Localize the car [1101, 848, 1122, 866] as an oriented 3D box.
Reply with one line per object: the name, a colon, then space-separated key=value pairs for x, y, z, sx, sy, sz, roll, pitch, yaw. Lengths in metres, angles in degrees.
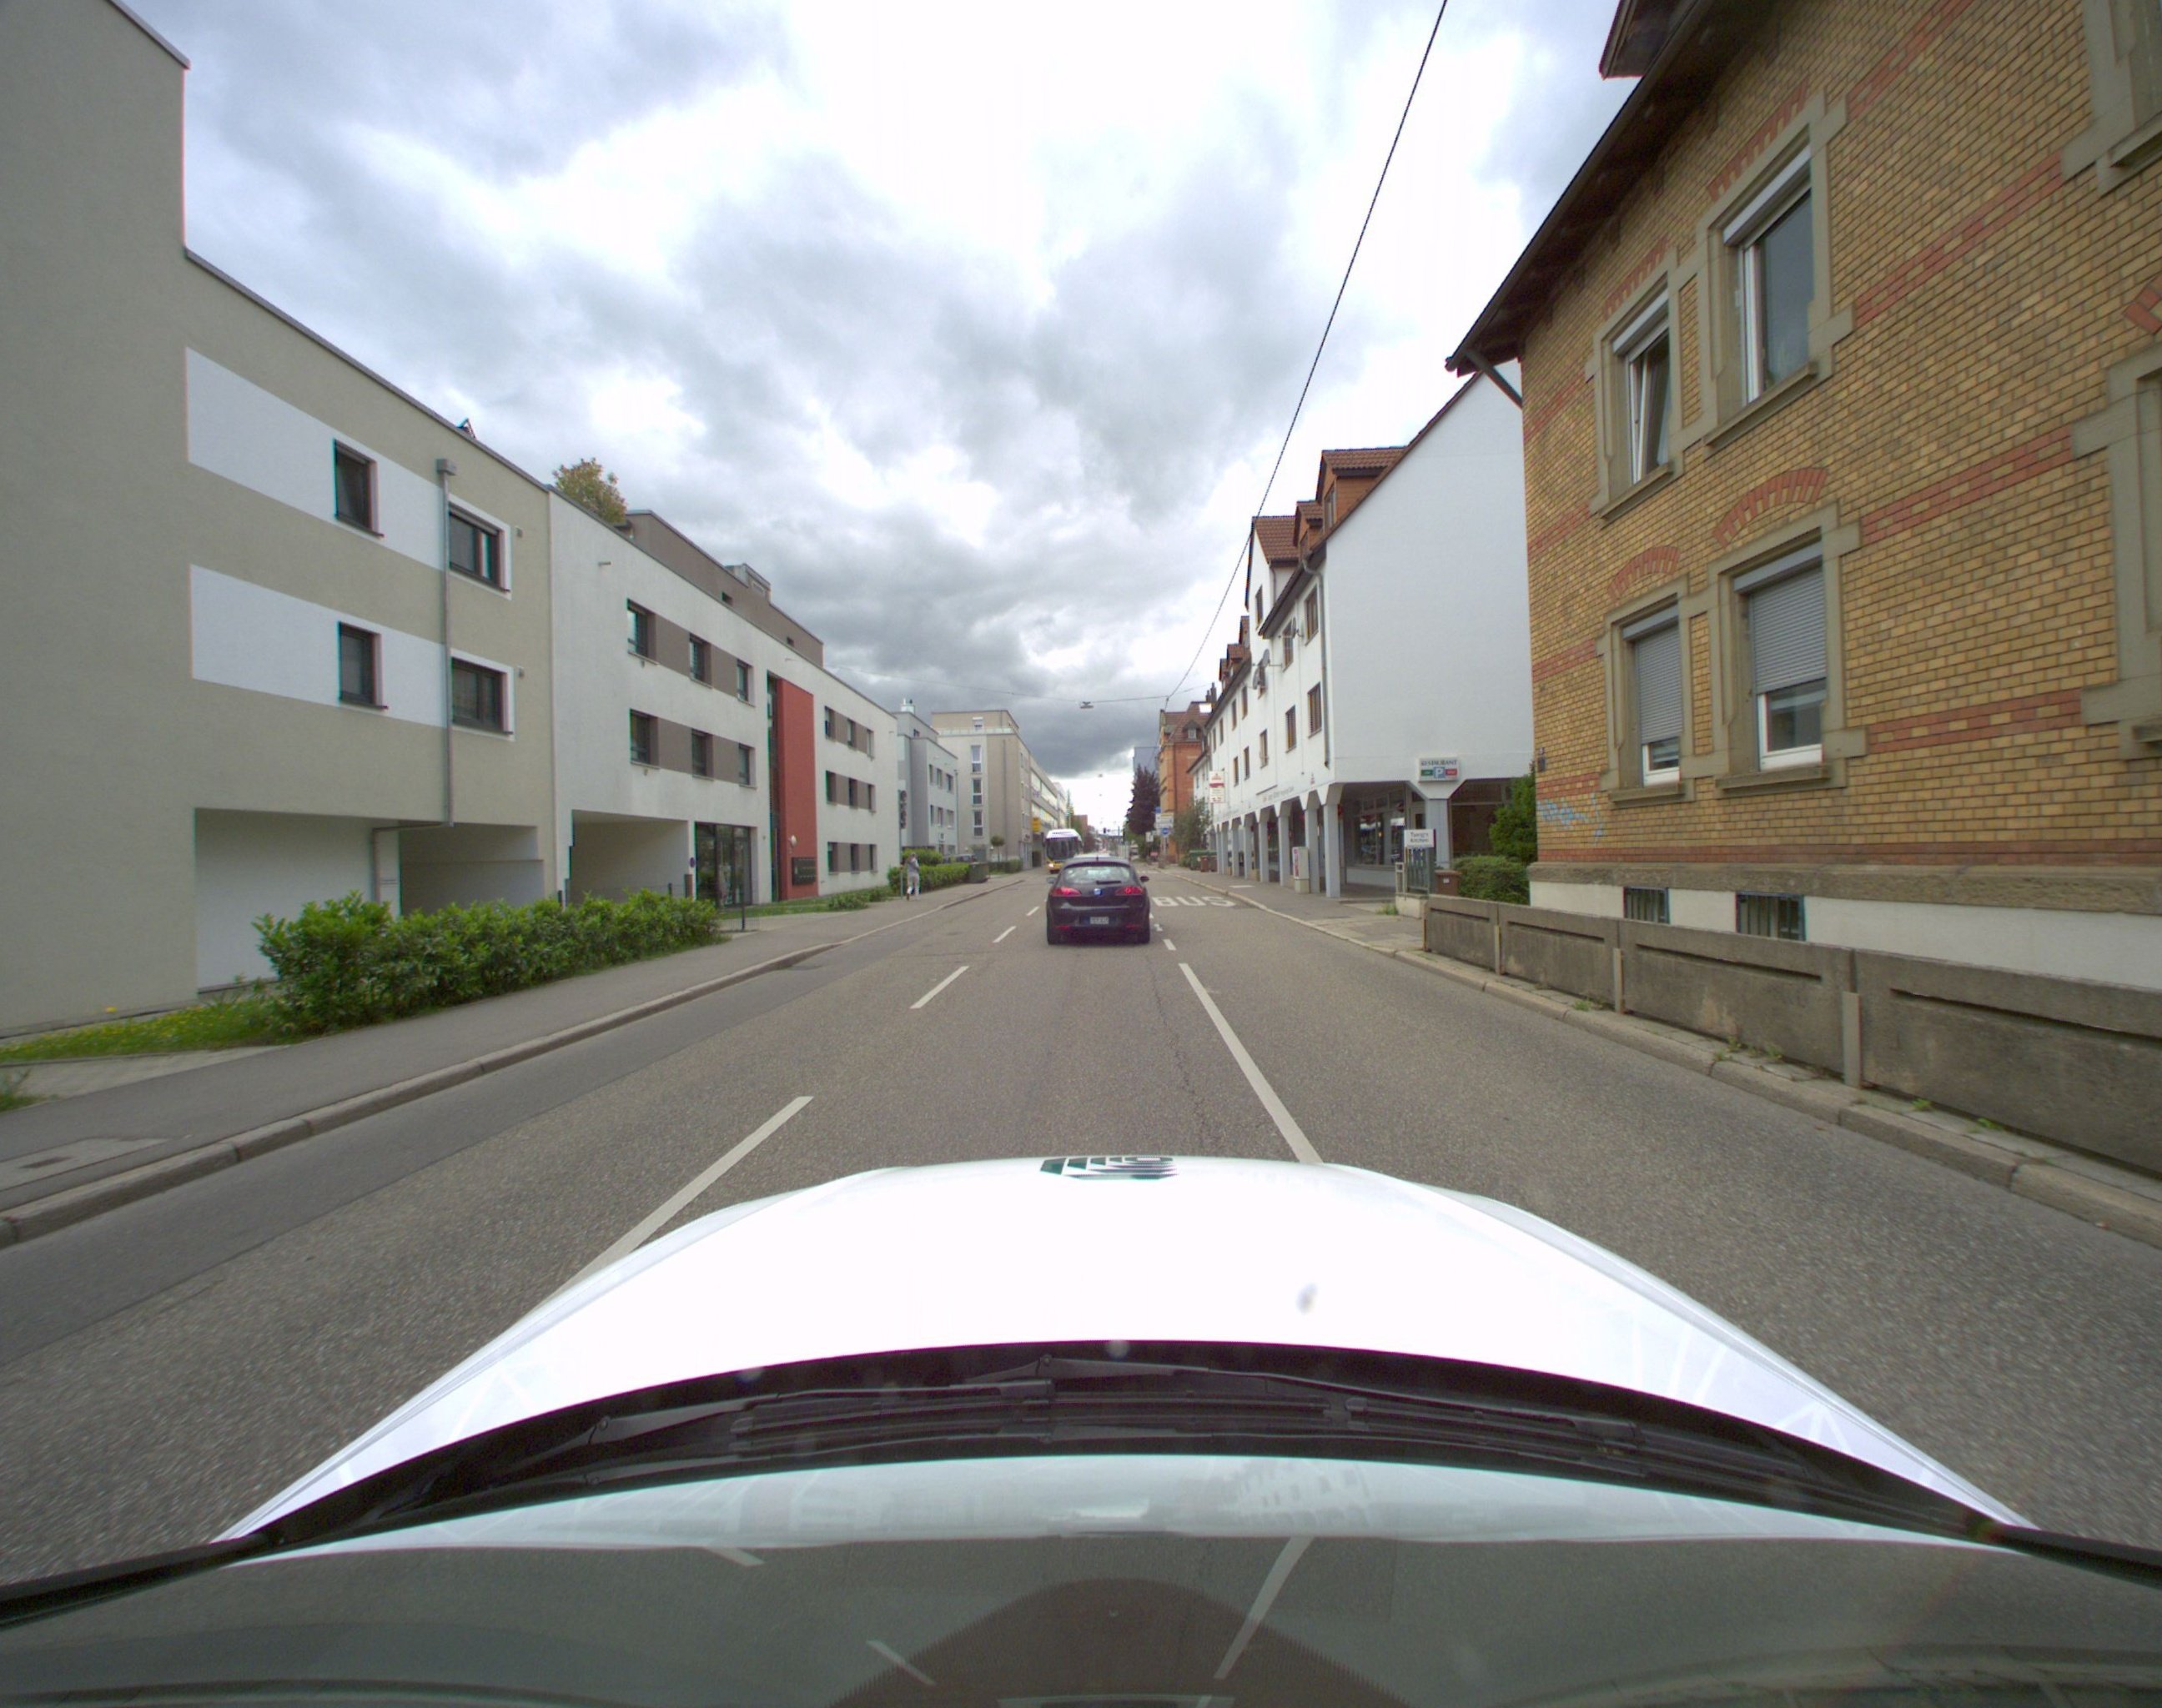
car: x=2.721 y=0.252 z=73.879 sx=1.797 sy=1.553 sz=3.738 roll=-1 pitch=0 yaw=1

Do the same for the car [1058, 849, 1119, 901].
car: x=0.265 y=0.616 z=26.060 sx=1.797 sy=1.492 sz=3.738 roll=-1 pitch=0 yaw=1

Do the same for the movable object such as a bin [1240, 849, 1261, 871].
movable object such as a bin: x=11.228 y=0.366 z=53.927 sx=1.203 sy=1.417 sz=1.261 roll=-1 pitch=0 yaw=5

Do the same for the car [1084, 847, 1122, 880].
car: x=1.134 y=0.460 z=42.179 sx=1.797 sy=1.553 sz=3.738 roll=-1 pitch=0 yaw=1

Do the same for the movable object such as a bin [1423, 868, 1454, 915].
movable object such as a bin: x=7.010 y=0.730 z=15.995 sx=0.396 sy=0.903 sz=0.456 roll=-1 pitch=0 yaw=2

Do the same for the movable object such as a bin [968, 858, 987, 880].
movable object such as a bin: x=-5.563 y=0.822 z=43.851 sx=0.946 sy=1.151 sz=0.748 roll=-1 pitch=0 yaw=-3

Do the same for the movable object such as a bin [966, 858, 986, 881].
movable object such as a bin: x=-5.531 y=0.827 z=43.006 sx=0.954 sy=1.151 sz=0.839 roll=-1 pitch=0 yaw=-3

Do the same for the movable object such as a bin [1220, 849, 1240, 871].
movable object such as a bin: x=9.872 y=0.396 z=53.976 sx=1.203 sy=1.417 sz=1.261 roll=-1 pitch=0 yaw=5

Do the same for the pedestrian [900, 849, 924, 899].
pedestrian: x=-5.613 y=0.649 z=27.054 sx=0.636 sy=1.642 sz=0.520 roll=-1 pitch=0 yaw=1

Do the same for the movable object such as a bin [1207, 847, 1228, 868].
movable object such as a bin: x=9.713 y=0.230 z=58.040 sx=1.262 sy=1.435 sz=1.308 roll=-1 pitch=0 yaw=2

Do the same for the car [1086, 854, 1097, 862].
car: x=1.876 y=0.742 z=149.472 sx=1.872 sy=1.451 sz=4.215 roll=-4 pitch=0 yaw=1

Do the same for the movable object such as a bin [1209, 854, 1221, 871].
movable object such as a bin: x=8.941 y=0.568 z=54.347 sx=0.694 sy=1.079 sz=0.973 roll=-1 pitch=0 yaw=6

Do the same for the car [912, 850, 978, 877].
car: x=-9.257 y=0.653 z=55.600 sx=4.143 sy=1.667 sz=1.727 roll=-2 pitch=-1 yaw=5

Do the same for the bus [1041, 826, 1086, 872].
bus: x=-1.302 y=-0.431 z=66.778 sx=2.931 sy=3.273 sz=12.012 roll=-3 pitch=0 yaw=2

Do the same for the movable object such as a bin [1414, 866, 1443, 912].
movable object such as a bin: x=7.084 y=0.705 z=16.602 sx=0.396 sy=0.903 sz=0.456 roll=-1 pitch=0 yaw=2

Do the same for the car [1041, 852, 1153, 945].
car: x=0.321 y=0.708 z=14.851 sx=1.759 sy=1.433 sz=3.830 roll=-1 pitch=0 yaw=2

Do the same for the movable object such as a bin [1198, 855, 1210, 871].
movable object such as a bin: x=8.216 y=0.594 z=54.391 sx=0.680 sy=1.067 sz=0.973 roll=-1 pitch=0 yaw=6

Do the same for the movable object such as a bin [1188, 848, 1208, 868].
movable object such as a bin: x=8.373 y=0.279 z=58.313 sx=1.262 sy=1.417 sz=1.163 roll=-1 pitch=0 yaw=2

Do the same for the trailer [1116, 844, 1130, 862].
trailer: x=6.298 y=-0.185 z=122.479 sx=1.986 sy=2.607 sz=5.350 roll=-1 pitch=0 yaw=1

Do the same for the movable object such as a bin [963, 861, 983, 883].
movable object such as a bin: x=-5.578 y=0.926 z=42.061 sx=0.892 sy=1.089 sz=0.792 roll=-1 pitch=0 yaw=-3
